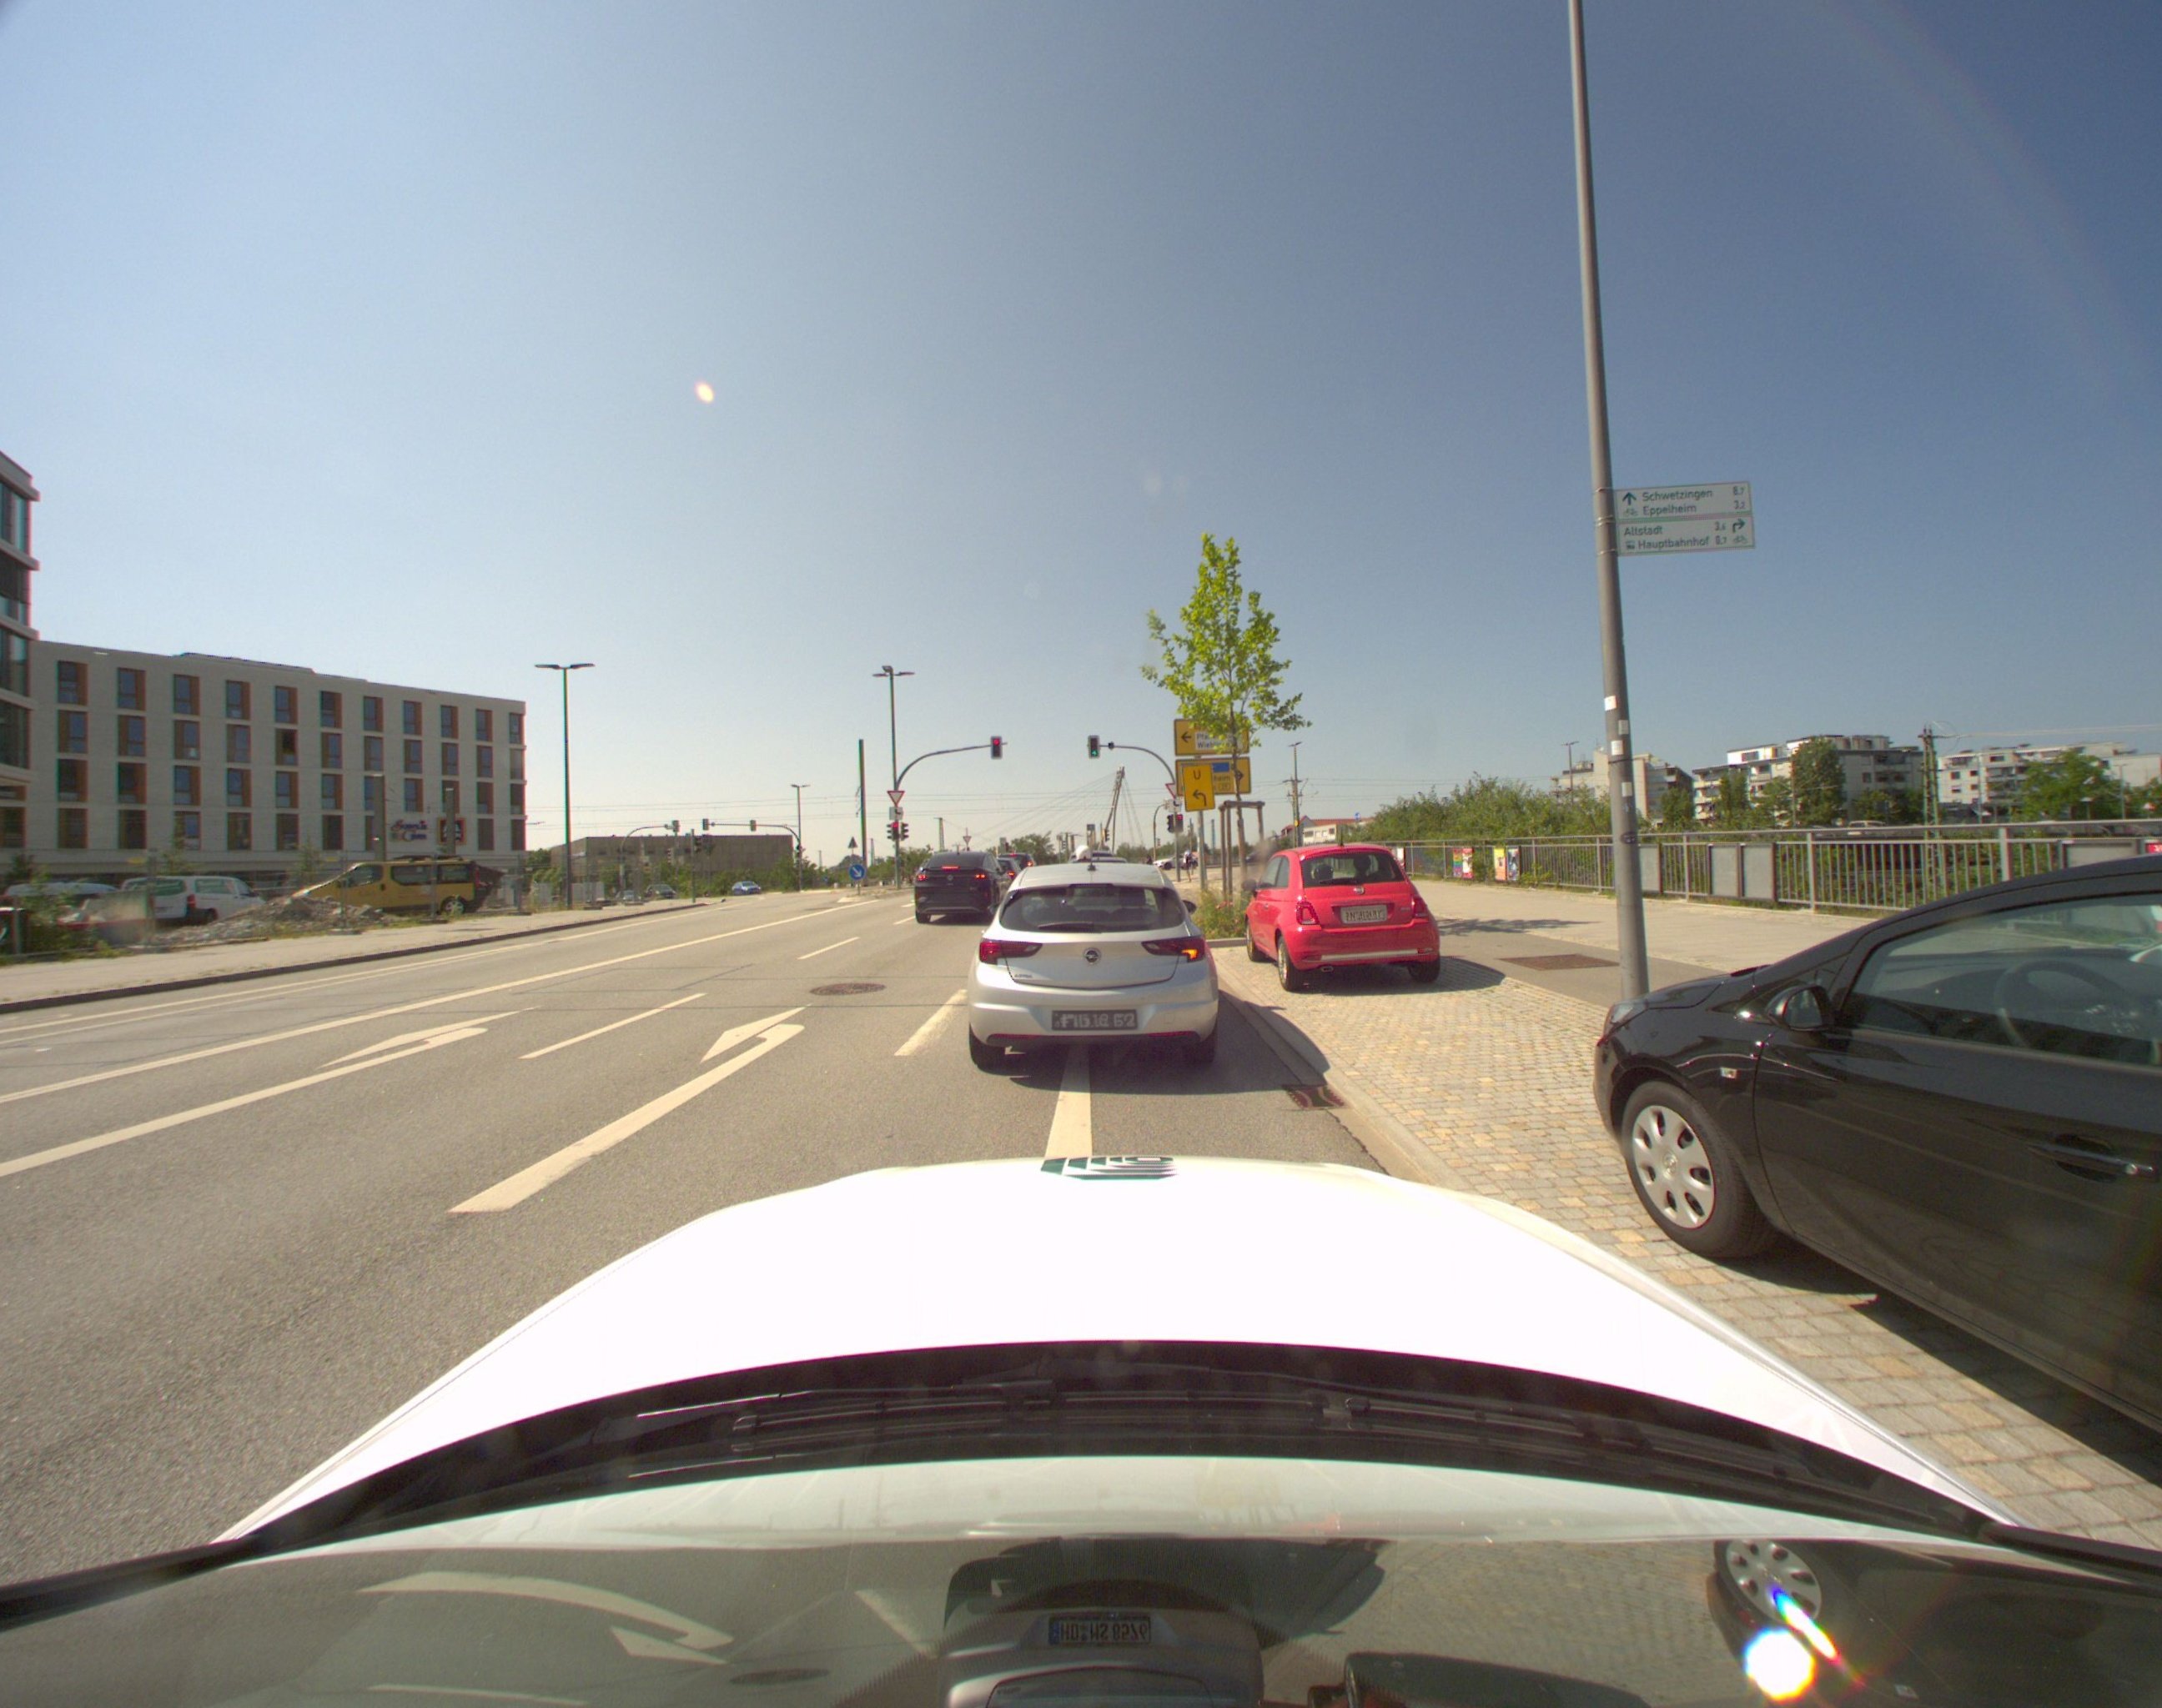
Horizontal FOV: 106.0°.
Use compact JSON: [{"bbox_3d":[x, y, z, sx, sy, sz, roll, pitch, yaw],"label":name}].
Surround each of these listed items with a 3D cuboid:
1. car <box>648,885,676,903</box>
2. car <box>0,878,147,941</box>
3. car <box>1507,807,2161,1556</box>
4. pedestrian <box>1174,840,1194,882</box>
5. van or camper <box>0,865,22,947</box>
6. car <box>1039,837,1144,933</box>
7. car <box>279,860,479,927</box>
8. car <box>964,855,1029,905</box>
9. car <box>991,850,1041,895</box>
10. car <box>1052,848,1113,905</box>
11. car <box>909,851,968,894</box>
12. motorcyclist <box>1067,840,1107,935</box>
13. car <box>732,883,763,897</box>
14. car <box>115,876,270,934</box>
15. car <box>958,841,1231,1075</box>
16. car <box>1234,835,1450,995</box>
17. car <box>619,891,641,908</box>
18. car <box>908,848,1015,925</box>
[{"bbox_3d":[-38.526,3.664,74.893,1.686,1.476,3.368,-2,0,-37],"label":"car"},{"bbox_3d":[-33.682,1.769,27.238,1.794,1.857,3.818,0,-1,-25],"label":"car"},{"bbox_3d":[2.892,0.601,1.948,1.654,1.426,4.001,-4,-1,1],"label":"car"},{"bbox_3d":[4.732,0.319,37.469,0.645,1.836,0.798,-5,-1,0],"label":"pedestrian"},{"bbox_3d":[-36.460,1.719,25.318,2.318,2.735,4.944,0,-1,-26],"label":"van or camper"},{"bbox_3d":[0.272,0.567,17.690,1.986,1.820,4.404,0,0,2],"label":"car"},{"bbox_3d":[-22.658,1.194,26.439,1.964,1.962,4.656,-1,-1,40],"label":"car"},{"bbox_3d":[-2.603,0.782,25.844,1.569,1.434,3.786,0,-1,1],"label":"car"},{"bbox_3d":[-2.489,0.700,31.784,1.644,1.615,3.819,0,-1,0],"label":"car"},{"bbox_3d":[0.116,0.627,24.783,1.717,1.563,4.002,0,1,2],"label":"car"},{"bbox_3d":[-5.409,0.696,31.270,1.592,1.547,3.761,0,-1,0],"label":"car"},{"bbox_3d":[0.098,0.500,12.322,0.580,1.389,0.707,0,-1,1],"label":"motorcyclist"},{"bbox_3d":[-33.192,3.557,81.066,1.831,1.331,3.954,0,-2,-38],"label":"car"},{"bbox_3d":[-31.058,1.693,28.681,1.873,1.774,4.619,0,-1,-22],"label":"car"},{"bbox_3d":[0.069,0.676,7.216,1.738,1.478,3.998,0,-1,-1],"label":"car"},{"bbox_3d":[2.922,0.606,9.813,1.603,1.496,3.355,-4,0,3],"label":"car"},{"bbox_3d":[-45.679,4.602,82.486,1.578,1.587,3.441,0,-1,-35],"label":"car"},{"bbox_3d":[-2.733,0.718,19.638,1.795,1.641,4.367,0,-1,2],"label":"car"}]
